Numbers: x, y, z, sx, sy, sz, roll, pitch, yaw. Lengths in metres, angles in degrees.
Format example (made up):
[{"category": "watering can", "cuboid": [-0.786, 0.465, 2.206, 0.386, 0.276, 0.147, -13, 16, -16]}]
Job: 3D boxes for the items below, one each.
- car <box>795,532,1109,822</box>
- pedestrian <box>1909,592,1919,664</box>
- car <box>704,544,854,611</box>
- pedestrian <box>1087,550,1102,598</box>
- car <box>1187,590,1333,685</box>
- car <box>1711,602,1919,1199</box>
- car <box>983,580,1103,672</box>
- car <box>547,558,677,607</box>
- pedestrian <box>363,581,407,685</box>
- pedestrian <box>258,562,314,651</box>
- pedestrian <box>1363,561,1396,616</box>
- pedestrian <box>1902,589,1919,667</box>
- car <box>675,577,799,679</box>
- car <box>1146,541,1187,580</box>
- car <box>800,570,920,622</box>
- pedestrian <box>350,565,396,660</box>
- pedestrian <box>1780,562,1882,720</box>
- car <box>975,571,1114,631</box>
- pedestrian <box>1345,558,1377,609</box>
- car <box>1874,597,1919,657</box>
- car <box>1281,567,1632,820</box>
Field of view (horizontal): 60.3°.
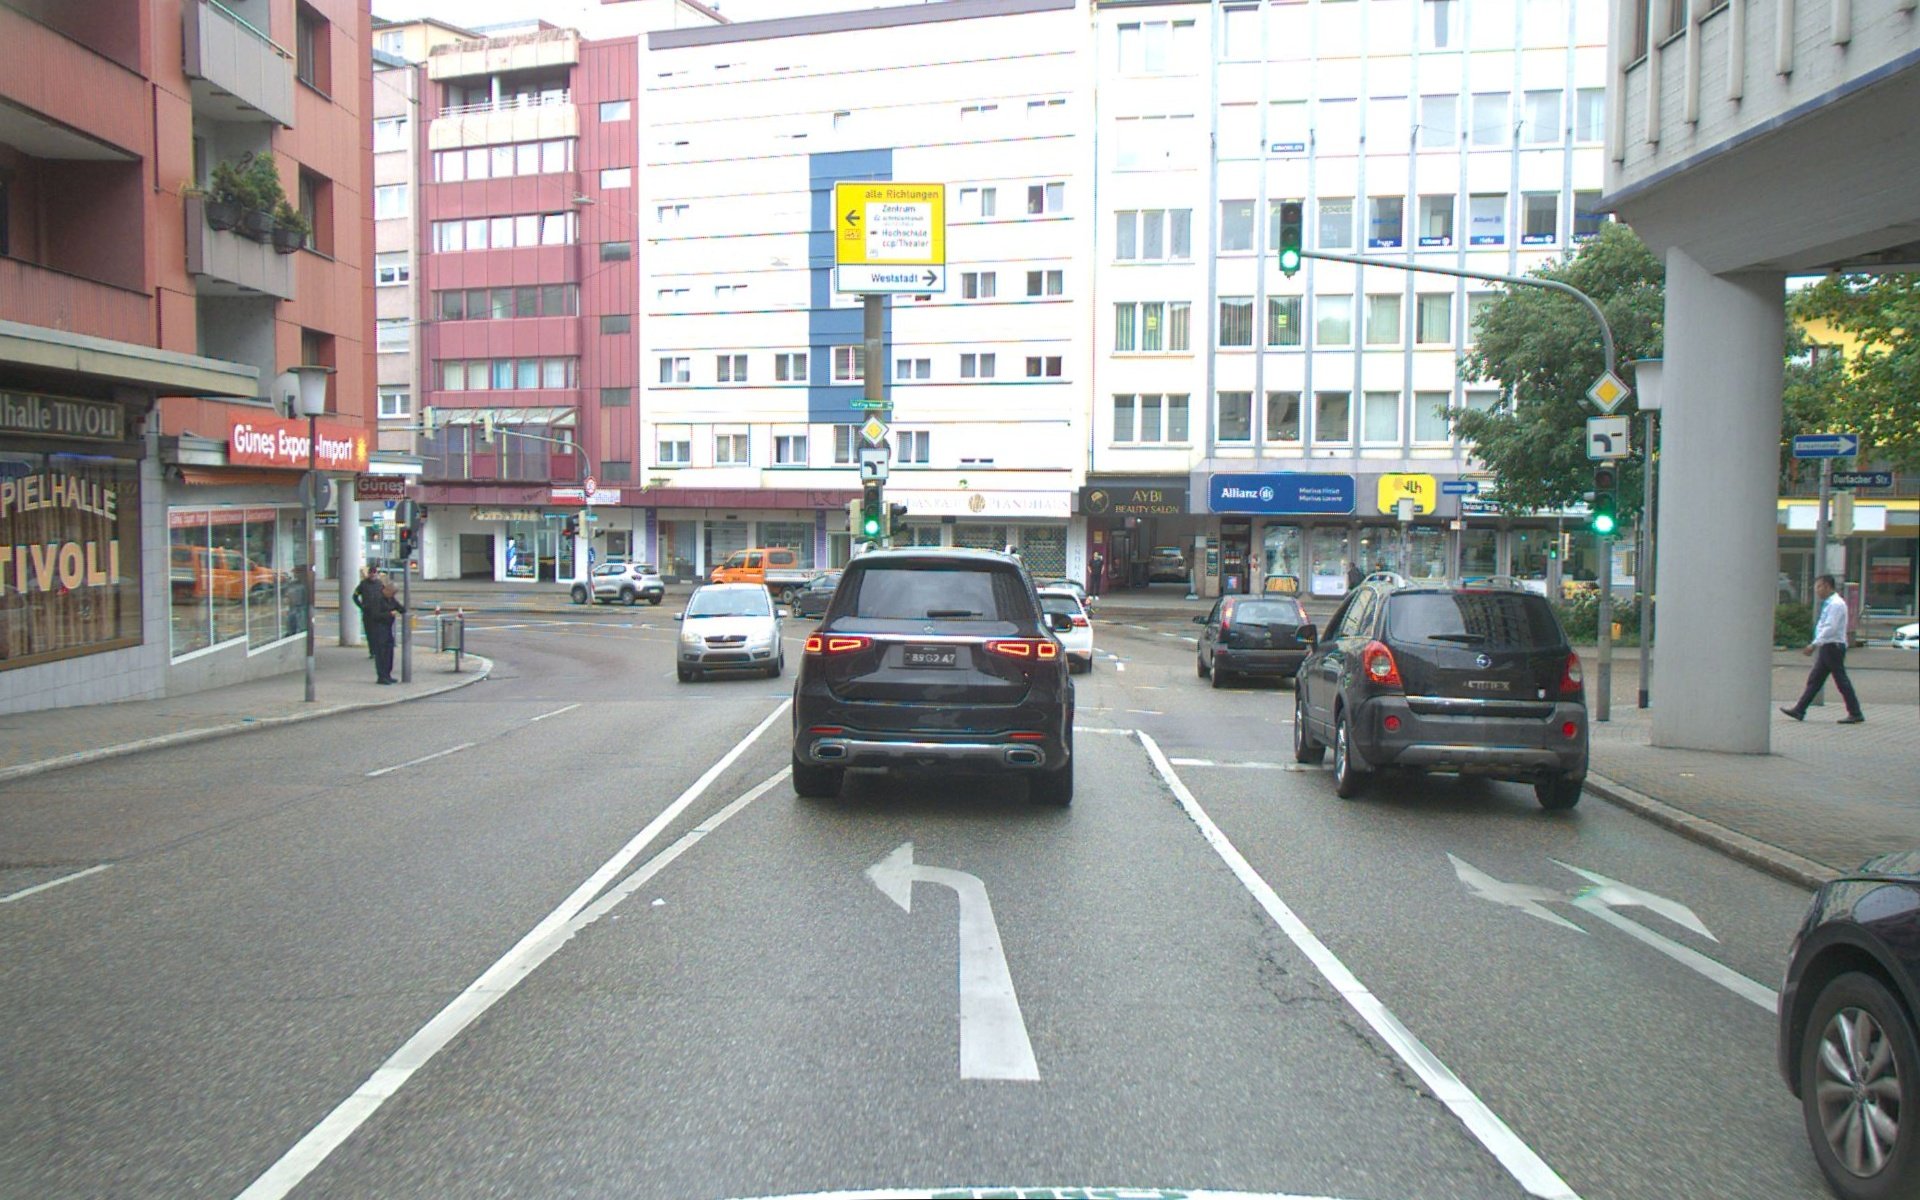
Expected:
[{"category": "car", "cuboid": [-0.142, 0.480, 13.091, 1.998, 1.830, 4.661, 2, 1, -2]}, {"category": "pedestrian", "cuboid": [23.277, 0.690, 39.618, 0.697, 1.706, 0.679, 4, -3, 12]}, {"category": "car", "cuboid": [-6.672, -0.846, 60.732, 5.320, 2.266, 2.241, 2, 0, 36]}, {"category": "pedestrian", "cuboid": [5.020, -0.972, 61.779, 0.552, 1.717, 0.757, 0, 6, 5]}, {"category": "car", "cuboid": [4.812, 0.559, 27.039, 1.730, 1.422, 4.001, 0, 1, 1]}, {"category": "car", "cuboid": [3.178, 0.829, 3.053, 1.654, 1.502, 4.000, 4, 0, -1]}, {"category": "car", "cuboid": [1.453, 0.415, 30.545, 1.835, 1.521, 4.399, 2, 1, -2]}, {"category": "car", "cuboid": [-12.593, -0.632, 59.810, 4.567, 1.542, 1.925, 2, -1, 34]}, {"category": "pedestrian", "cuboid": [-9.669, 0.550, 27.842, 0.543, 1.727, 0.623, 1, 0, -5]}, {"category": "pedestrian", "cuboid": [-14.375, 0.126, 35.290, 0.707, 1.863, 0.829, 1, 0, 29]}, {"category": "pedestrian", "cuboid": [14.603, -0.418, 57.587, 1.008, 1.829, 0.831, 1, 6, 8]}, {"category": "pedestrian", "cuboid": [23.543, 0.692, 40.390, 0.697, 1.859, 0.679, 4, -3, 13]}, {"category": "car", "cuboid": [-3.889, 0.466, 29.444, 1.700, 1.620, 4.174, -2, 0, -2]}, {"category": "car", "cuboid": [9.171, -1.730, 73.242, 1.759, 1.699, 4.003, 0, 1, 8]}, {"category": "car", "cuboid": [-3.115, -0.145, 50.792, 1.974, 1.512, 4.191, 0, 1, -32]}, {"category": "pedestrian", "cuboid": [-11.849, 0.239, 33.389, 0.752, 1.881, 0.836, 0, 0, -28]}, {"category": "pedestrian", "cuboid": [10.529, 0.488, 20.009, 0.707, 1.849, 0.828, -1, -1, -7]}, {"category": "car", "cuboid": [2.501, 0.006, 49.761, 1.808, 1.687, 4.440, 2, 0, -35]}, {"category": "pedestrian", "cuboid": [14.275, -0.587, 58.858, 1.008, 1.717, 0.831, 1, 6, 8]}, {"category": "car", "cuboid": [27.752, 0.791, 45.585, 4.099, 1.437, 1.832, 2, 6, 14]}, {"category": "car", "cuboid": [3.967, 0.652, 14.029, 1.858, 1.724, 4.508, 2, 0, 4]}]
